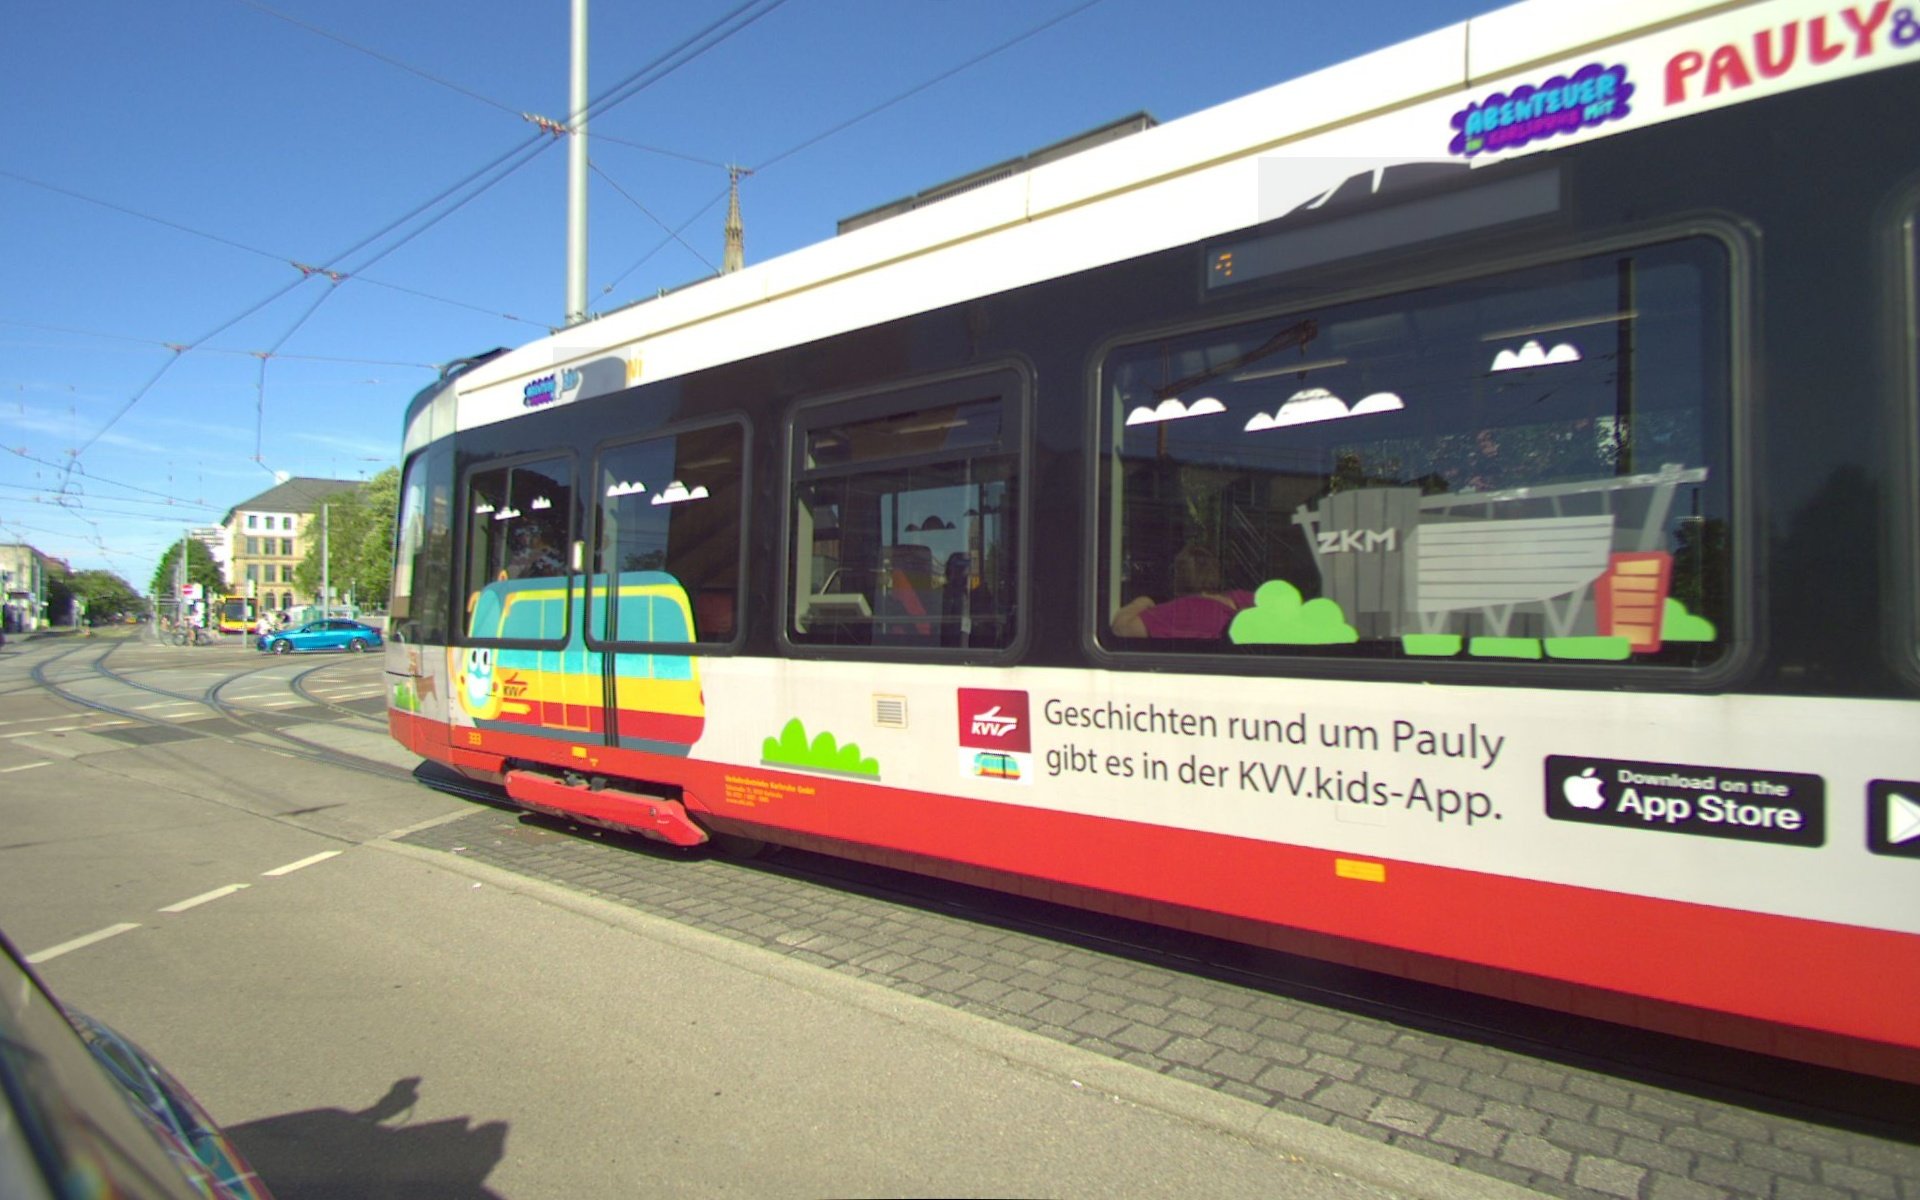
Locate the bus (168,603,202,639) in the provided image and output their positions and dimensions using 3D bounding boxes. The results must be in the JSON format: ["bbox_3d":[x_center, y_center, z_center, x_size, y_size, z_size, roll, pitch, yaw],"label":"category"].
[{"bbox_3d":[-69.199,1.895,90.457,2.106,3.069,8.578,-1,0,-36],"label":"bus"}]

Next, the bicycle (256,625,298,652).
[{"bbox_3d":[-33.365,1.890,49.476,0.608,1.266,1.962,0,-1,4],"label":"bicycle"}]

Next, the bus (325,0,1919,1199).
[{"bbox_3d":[0.732,-0.396,5.325,13.482,3.617,2.813,-1,-1,40],"label":"bus"}]

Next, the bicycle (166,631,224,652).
[{"bbox_3d":[-39.823,2.153,52.742,0.612,0.997,2.458,-1,-1,23],"label":"bicycle"}]

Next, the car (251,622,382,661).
[{"bbox_3d":[-26.722,1.689,42.086,4.524,1.469,1.918,0,0,-36],"label":"car"}]

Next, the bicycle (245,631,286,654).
[{"bbox_3d":[-34.474,2.091,50.265,0.610,1.114,1.717,-1,-1,13],"label":"bicycle"}]

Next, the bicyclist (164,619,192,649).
[{"bbox_3d":[-40.897,1.762,52.924,0.573,1.540,0.949,-1,1,23],"label":"bicyclist"}]

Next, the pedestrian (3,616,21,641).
[{"bbox_3d":[-73.744,2.233,78.695,0.844,1.895,0.695,-1,1,-30],"label":"pedestrian"}]

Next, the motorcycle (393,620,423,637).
[{"bbox_3d":[-43.848,2.257,80.399,2.073,1.263,0.535,-2,1,-39],"label":"motorcycle"}]

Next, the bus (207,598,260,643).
[{"bbox_3d":[-60.556,1.577,84.225,2.805,3.144,11.842,-2,2,-39],"label":"bus"}]

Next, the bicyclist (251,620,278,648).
[{"bbox_3d":[-34.488,1.676,50.195,0.752,1.332,0.791,-1,-1,14],"label":"bicyclist"}]

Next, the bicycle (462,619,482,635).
[{"bbox_3d":[-40.210,2.212,83.379,1.477,1.279,0.366,-2,1,-34],"label":"bicycle"}]

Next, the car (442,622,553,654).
[{"bbox_3d":[-21.596,1.745,47.435,1.790,1.338,4.551,0,0,31],"label":"car"}]

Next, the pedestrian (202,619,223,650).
[{"bbox_3d":[-41.095,1.894,55.608,0.605,1.620,0.708,-1,1,25],"label":"pedestrian"}]

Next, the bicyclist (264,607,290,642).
[{"bbox_3d":[-33.374,1.186,49.441,0.750,1.688,0.794,-1,-1,4],"label":"bicyclist"}]

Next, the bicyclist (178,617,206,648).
[{"bbox_3d":[-39.904,1.673,52.567,0.592,1.561,0.988,-1,0,23],"label":"bicyclist"}]

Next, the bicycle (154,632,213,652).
[{"bbox_3d":[-40.773,2.210,53.173,0.612,0.997,2.458,-1,-1,23],"label":"bicycle"}]

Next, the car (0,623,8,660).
[{"bbox_3d":[-43.333,1.763,43.051,4.586,1.589,2.035,0,0,15],"label":"car"}]

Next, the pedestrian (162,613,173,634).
[{"bbox_3d":[-70.802,2.096,90.416,0.680,1.875,0.731,-1,1,-34],"label":"pedestrian"}]
